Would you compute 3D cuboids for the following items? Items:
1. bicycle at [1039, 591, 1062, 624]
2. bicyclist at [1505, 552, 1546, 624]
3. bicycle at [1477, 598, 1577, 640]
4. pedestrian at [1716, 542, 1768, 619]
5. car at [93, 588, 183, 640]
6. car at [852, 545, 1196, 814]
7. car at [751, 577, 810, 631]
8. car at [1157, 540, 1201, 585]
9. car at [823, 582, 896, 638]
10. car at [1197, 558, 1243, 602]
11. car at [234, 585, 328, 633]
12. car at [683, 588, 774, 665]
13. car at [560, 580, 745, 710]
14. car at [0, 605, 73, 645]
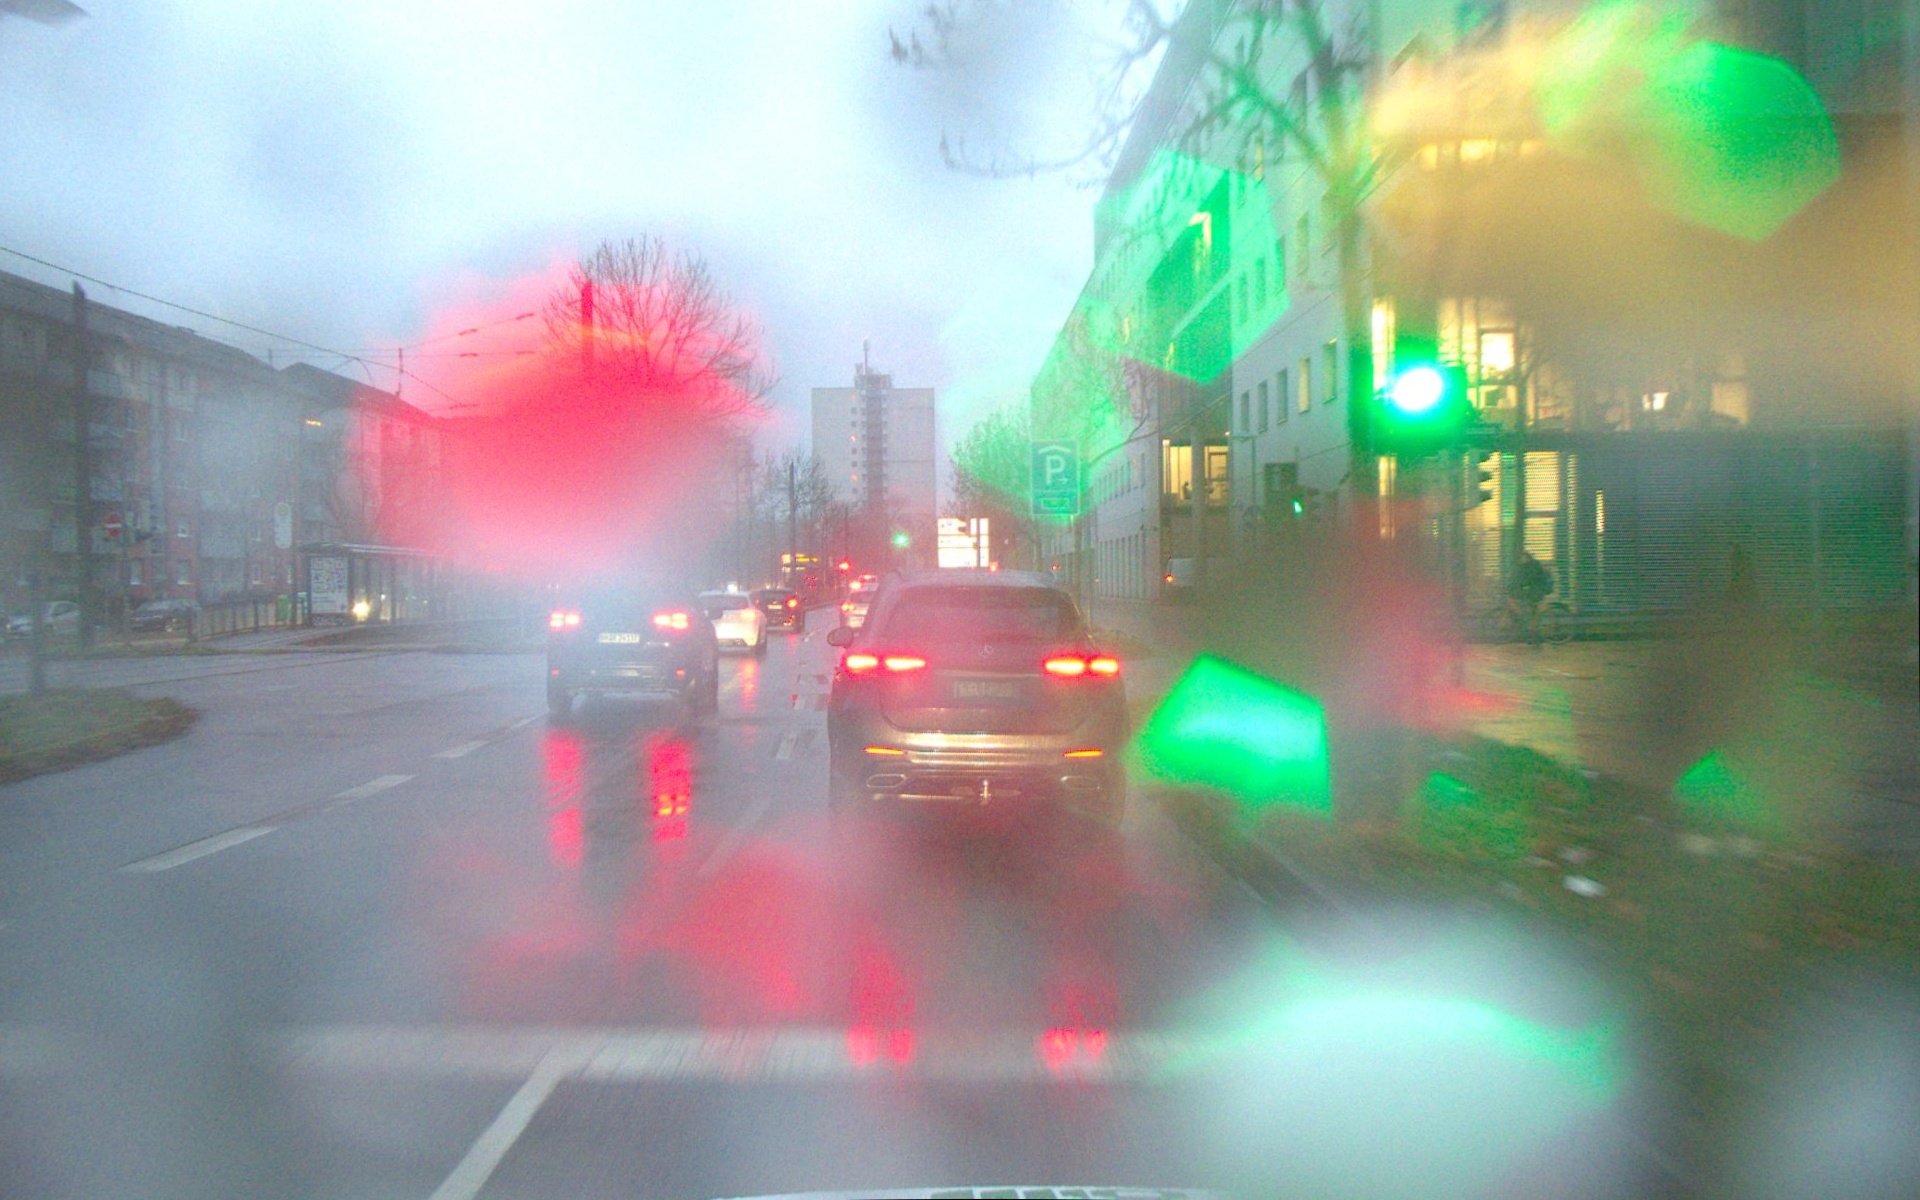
[{"bbox_3d":[2.765,0.213,50.465,0.534,0.982,1.345,1,0,-4],"label":"bicycle"},{"bbox_3d":[10.836,-0.227,31.681,0.610,1.353,0.564,1,0,32],"label":"bicyclist"},{"bbox_3d":[10.845,0.354,31.632,1.697,0.758,0.650,1,0,33],"label":"bicycle"},{"bbox_3d":[17.325,-0.431,36.640,0.791,1.683,0.726,1,0,1],"label":"pedestrian"},{"bbox_3d":[-33.930,0.545,68.401,1.954,2.049,3.996,1,0,-5],"label":"car"},{"bbox_3d":[0.333,0.452,11.358,1.953,1.509,3.699,1,0,-1],"label":"car"},{"bbox_3d":[-6.179,0.130,57.240,1.628,1.790,3.568,1,0,0],"label":"car"},{"bbox_3d":[9.235,-1.566,69.924,1.593,1.790,3.423,1,0,4],"label":"car"},{"bbox_3d":[-2.974,0.286,49.455,1.828,1.570,3.611,1,0,2],"label":"car"},{"bbox_3d":[10.955,-0.832,69.799,1.593,1.790,3.423,1,0,4],"label":"car"},{"bbox_3d":[-20.276,0.242,49.517,1.415,1.365,3.636,1,0,-2],"label":"car"},{"bbox_3d":[-5.313,0.584,38.357,1.655,1.664,3.473,1,0,-1],"label":"car"},{"bbox_3d":[-3.829,0.508,21.226,1.781,1.476,3.998,1,0,-3],"label":"car"},{"bbox_3d":[-33.328,0.866,59.179,1.415,1.309,3.385,1,0,-2],"label":"car"}]
